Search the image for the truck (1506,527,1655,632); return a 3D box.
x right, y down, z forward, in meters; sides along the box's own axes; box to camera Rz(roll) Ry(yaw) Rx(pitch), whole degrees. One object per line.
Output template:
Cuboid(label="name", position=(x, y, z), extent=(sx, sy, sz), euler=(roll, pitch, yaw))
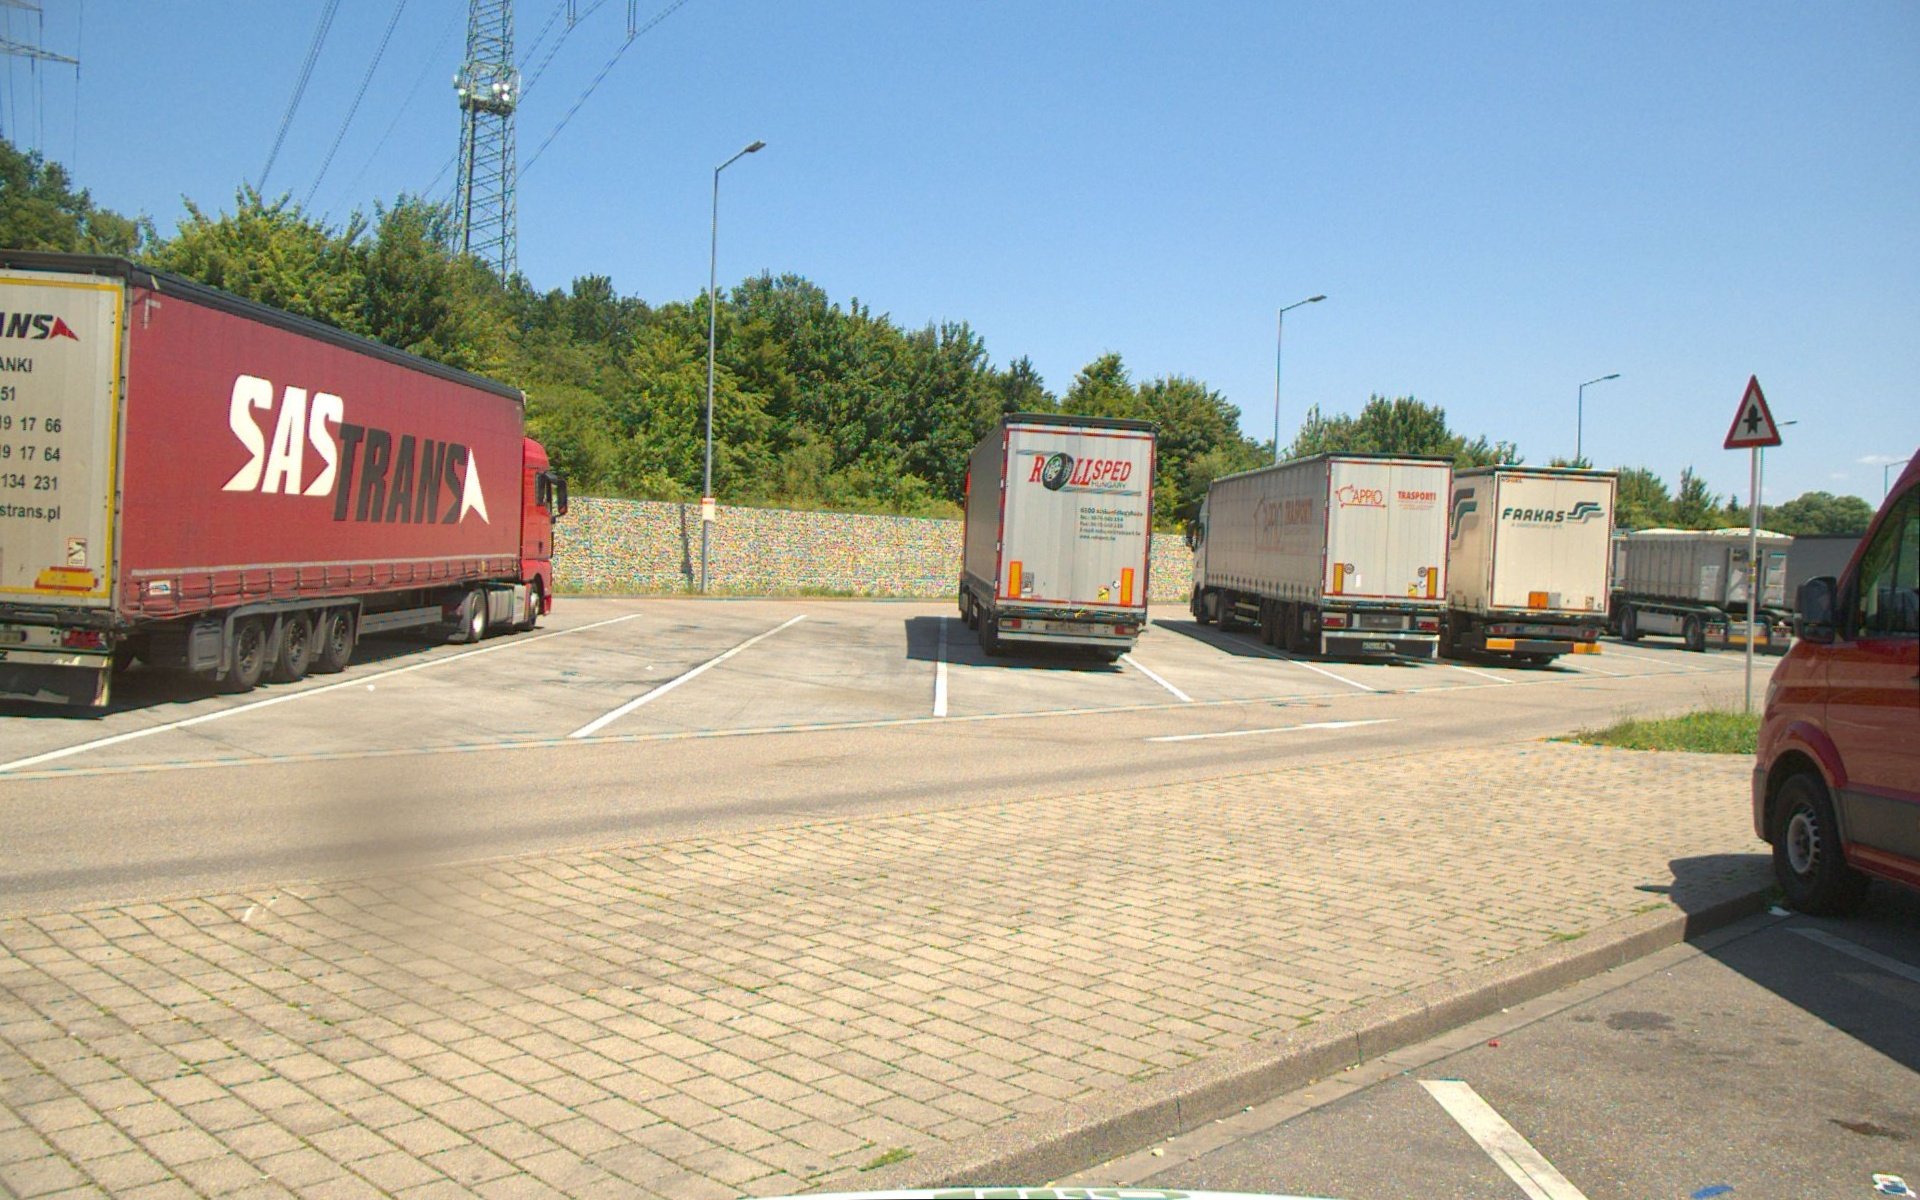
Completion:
Cuboid(label="truck", position=(21.737, -0.789, 58.318), extent=(2.808, 3.421, 5.974), euler=(2, 2, -1))

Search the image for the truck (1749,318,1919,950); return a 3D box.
Cuboid(label="truck", position=(4.991, 0.157, 5.495), extent=(1.969, 2.697, 6.457), euler=(1, 0, 3))

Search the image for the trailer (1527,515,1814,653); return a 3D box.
Cuboid(label="trailer", position=(21.836, -0.676, 52.222), extent=(2.800, 3.662, 13.762), euler=(2, 2, -1))

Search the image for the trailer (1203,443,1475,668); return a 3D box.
Cuboid(label="trailer", position=(8.248, -1.097, 38.480), extent=(2.800, 4.180, 13.762), euler=(2, 2, -1))

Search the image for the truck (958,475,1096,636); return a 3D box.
Cuboid(label="truck", position=(1.474, -1.086, 39.324), extent=(2.808, 3.421, 5.974), euler=(2, 2, -1))

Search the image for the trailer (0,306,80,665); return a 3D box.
Cuboid(label="trailer", position=(-12.489, -1.255, 15.773), extent=(2.651, 4.173, 10.389), euler=(2, 2, -1))

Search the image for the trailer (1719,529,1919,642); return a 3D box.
Cuboid(label="trailer", position=(34.789, -0.704, 65.421), extent=(2.800, 3.972, 13.762), euler=(2, 2, -1))

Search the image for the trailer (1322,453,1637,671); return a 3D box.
Cuboid(label="trailer", position=(11.768, -0.987, 39.544), extent=(2.800, 4.180, 13.762), euler=(2, 2, -1))

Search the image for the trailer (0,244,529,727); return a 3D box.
Cuboid(label="trailer", position=(-8.692, -1.266, 21.230), extent=(2.764, 4.141, 13.763), euler=(2, 2, -1))

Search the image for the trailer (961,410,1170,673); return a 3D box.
Cuboid(label="trailer", position=(1.675, -1.171, 33.127), extent=(2.800, 4.040, 13.761), euler=(2, 2, -2))

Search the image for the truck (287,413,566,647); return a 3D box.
Cuboid(label="truck", position=(-8.801, -1.157, 28.045), extent=(2.755, 3.421, 5.974), euler=(2, 2, -1))

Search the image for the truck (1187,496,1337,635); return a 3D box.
Cuboid(label="truck", position=(8.126, -0.979, 45.242), extent=(2.808, 3.421, 5.974), euler=(2, 2, -1))
